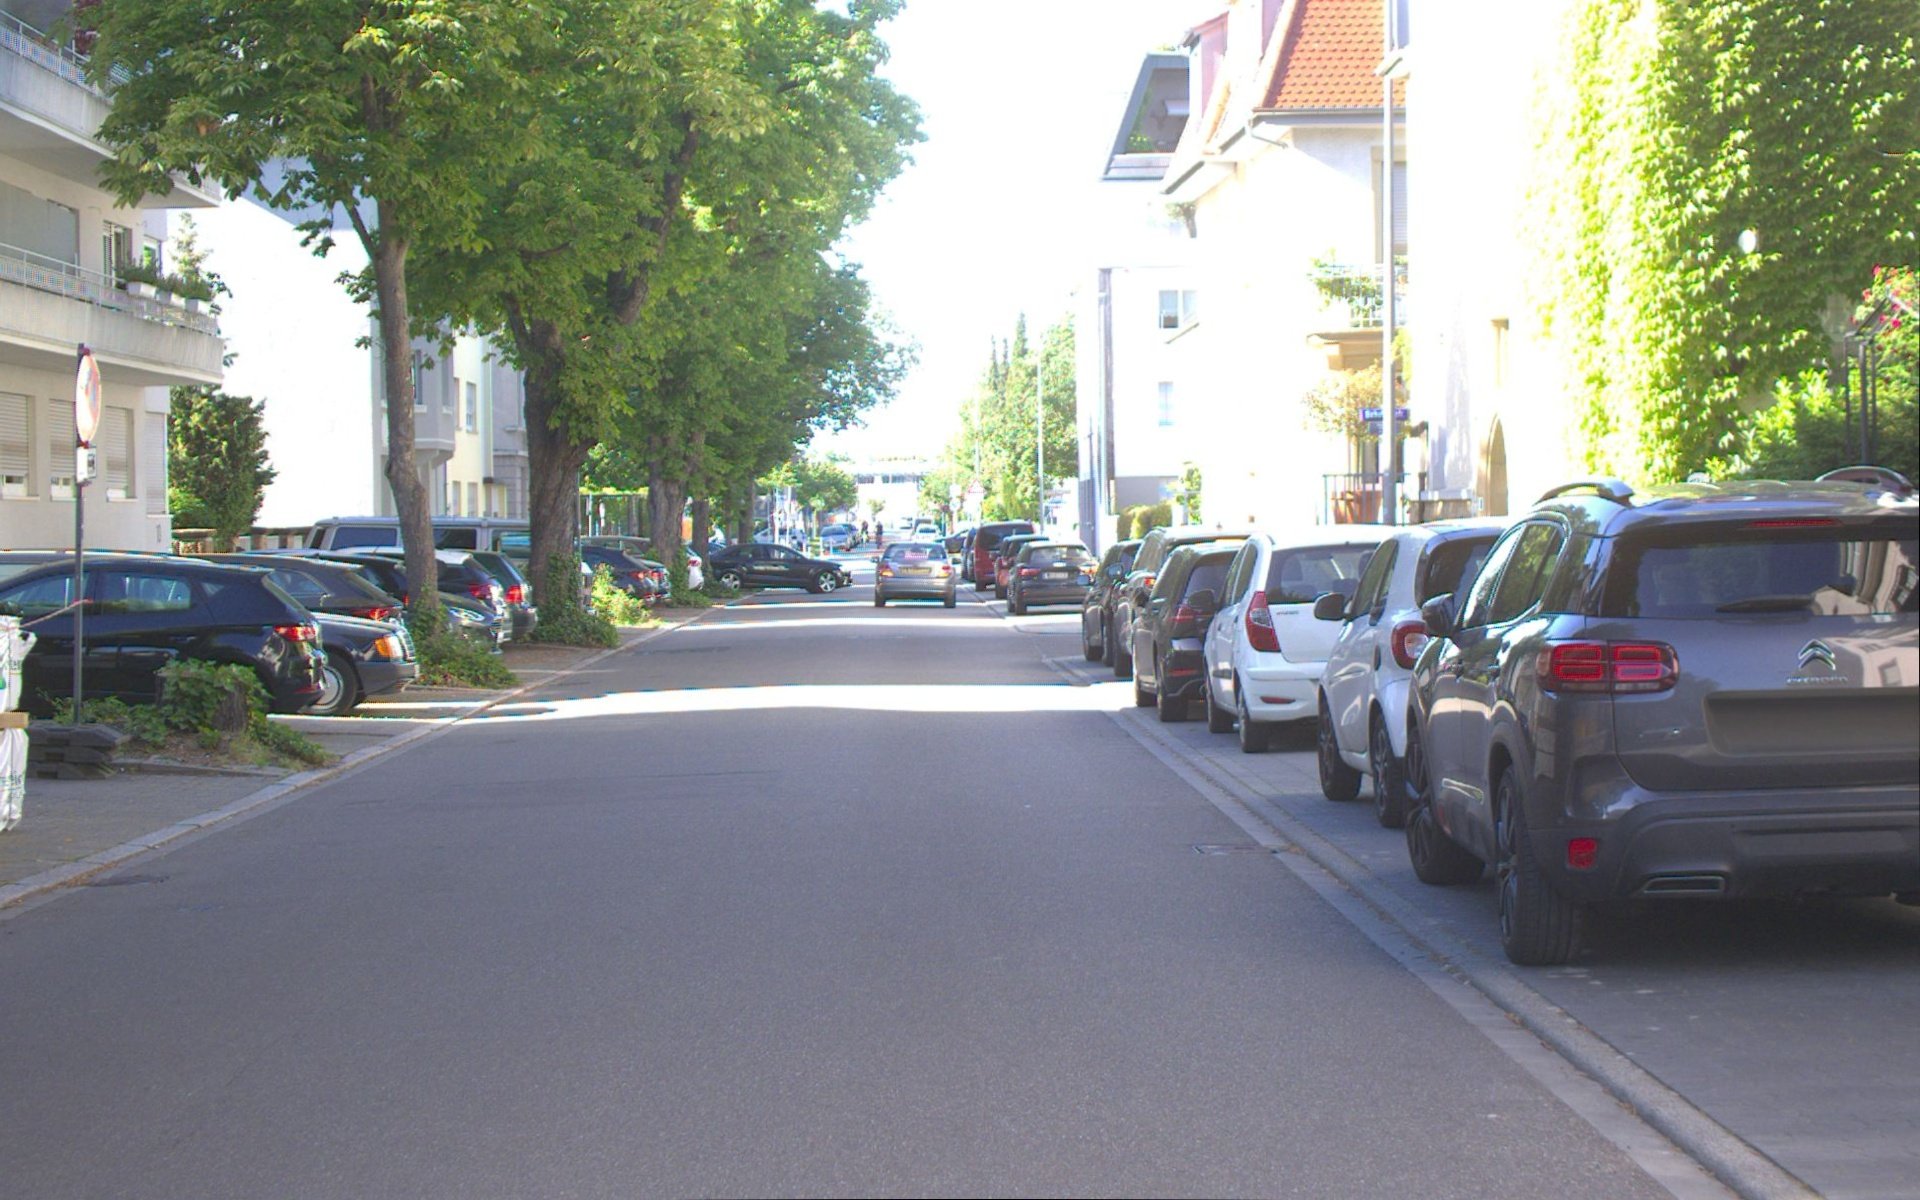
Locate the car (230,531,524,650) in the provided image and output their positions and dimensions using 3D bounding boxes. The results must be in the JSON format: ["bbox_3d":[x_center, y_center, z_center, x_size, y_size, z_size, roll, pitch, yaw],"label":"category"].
[{"bbox_3d":[-7.532,-0.130,44.627,3.478,1.453,1.797,1,1,0],"label":"car"}]

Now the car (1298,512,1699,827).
[{"bbox_3d":[2.799,0.339,18.402,1.625,1.544,2.869,0,0,-1],"label":"car"}]

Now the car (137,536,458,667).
[{"bbox_3d":[-7.589,0.016,39.642,3.477,1.416,1.710,1,0,-6],"label":"car"}]

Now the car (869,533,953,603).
[{"bbox_3d":[-1.049,-0.719,75.116,1.726,1.415,3.961,-2,1,0],"label":"car"}]

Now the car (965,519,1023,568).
[{"bbox_3d":[1.099,-1.870,112.655,1.737,1.526,4.179,-2,1,-1],"label":"car"}]

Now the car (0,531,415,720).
[{"bbox_3d":[-7.427,0.222,31.972,4.588,1.601,1.833,-2,1,-9],"label":"car"}]

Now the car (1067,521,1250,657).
[{"bbox_3d":[2.346,-0.134,41.565,1.662,1.515,4.002,-2,0,-4],"label":"car"}]

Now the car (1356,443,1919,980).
[{"bbox_3d":[2.693,0.355,13.159,1.778,1.690,4.320,1,0,-1],"label":"car"}]

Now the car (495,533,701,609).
[{"bbox_3d":[-7.298,-0.602,69.576,3.987,1.463,1.697,-1,1,-1],"label":"car"}]

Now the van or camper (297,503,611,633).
[{"bbox_3d":[-7.655,-0.493,52.369,4.497,1.908,1.964,0,1,-1],"label":"van or camper"}]

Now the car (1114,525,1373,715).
[{"bbox_3d":[2.345,0.150,29.402,1.709,1.431,4.193,-3,0,-1],"label":"car"}]

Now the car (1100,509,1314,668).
[{"bbox_3d":[2.535,-0.119,36.187,1.791,1.515,4.367,-2,0,-1],"label":"car"}]

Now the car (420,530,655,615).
[{"bbox_3d":[-7.853,-0.522,64.253,4.186,1.493,1.861,-1,1,-2],"label":"car"}]

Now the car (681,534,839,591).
[{"bbox_3d":[-5.469,-1.025,94.452,4.189,1.443,1.712,1,0,1],"label":"car"}]

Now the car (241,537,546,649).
[{"bbox_3d":[-7.696,-0.114,46.946,3.921,1.410,1.716,1,2,-3],"label":"car"}]

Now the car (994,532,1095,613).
[{"bbox_3d":[1.627,-0.563,67.333,1.619,1.435,3.935,-3,2,-2],"label":"car"}]

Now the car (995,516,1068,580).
[{"bbox_3d":[1.732,-1.288,84.205,1.592,1.475,3.247,-3,1,-1],"label":"car"}]

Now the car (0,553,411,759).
[{"bbox_3d":[-6.454,0.433,27.936,3.869,1.509,1.833,-2,1,-9],"label":"car"}]

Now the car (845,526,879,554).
[{"bbox_3d":[-6.206,-3.826,217.232,1.872,1.722,4.001,-1,1,-5],"label":"car"}]

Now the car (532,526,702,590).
[{"bbox_3d":[-8.436,-1.040,84.772,4.022,1.479,1.807,1,1,-1],"label":"car"}]

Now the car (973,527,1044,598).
[{"bbox_3d":[1.339,-1.053,96.578,1.871,1.898,5.197,-2,1,0],"label":"car"}]

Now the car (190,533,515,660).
[{"bbox_3d":[-7.402,-0.051,42.114,3.644,1.458,1.710,1,1,1],"label":"car"}]

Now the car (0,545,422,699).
[{"bbox_3d":[-7.669,0.209,34.789,4.187,1.436,1.713,-1,1,-2],"label":"car"}]

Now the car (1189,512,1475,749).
[{"bbox_3d":[2.628,0.199,24.962,1.575,1.544,3.469,-2,0,-1],"label":"car"}]

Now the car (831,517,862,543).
[{"bbox_3d":[-7.545,-4.674,228.735,1.787,1.527,4.001,4,2,-5],"label":"car"}]
